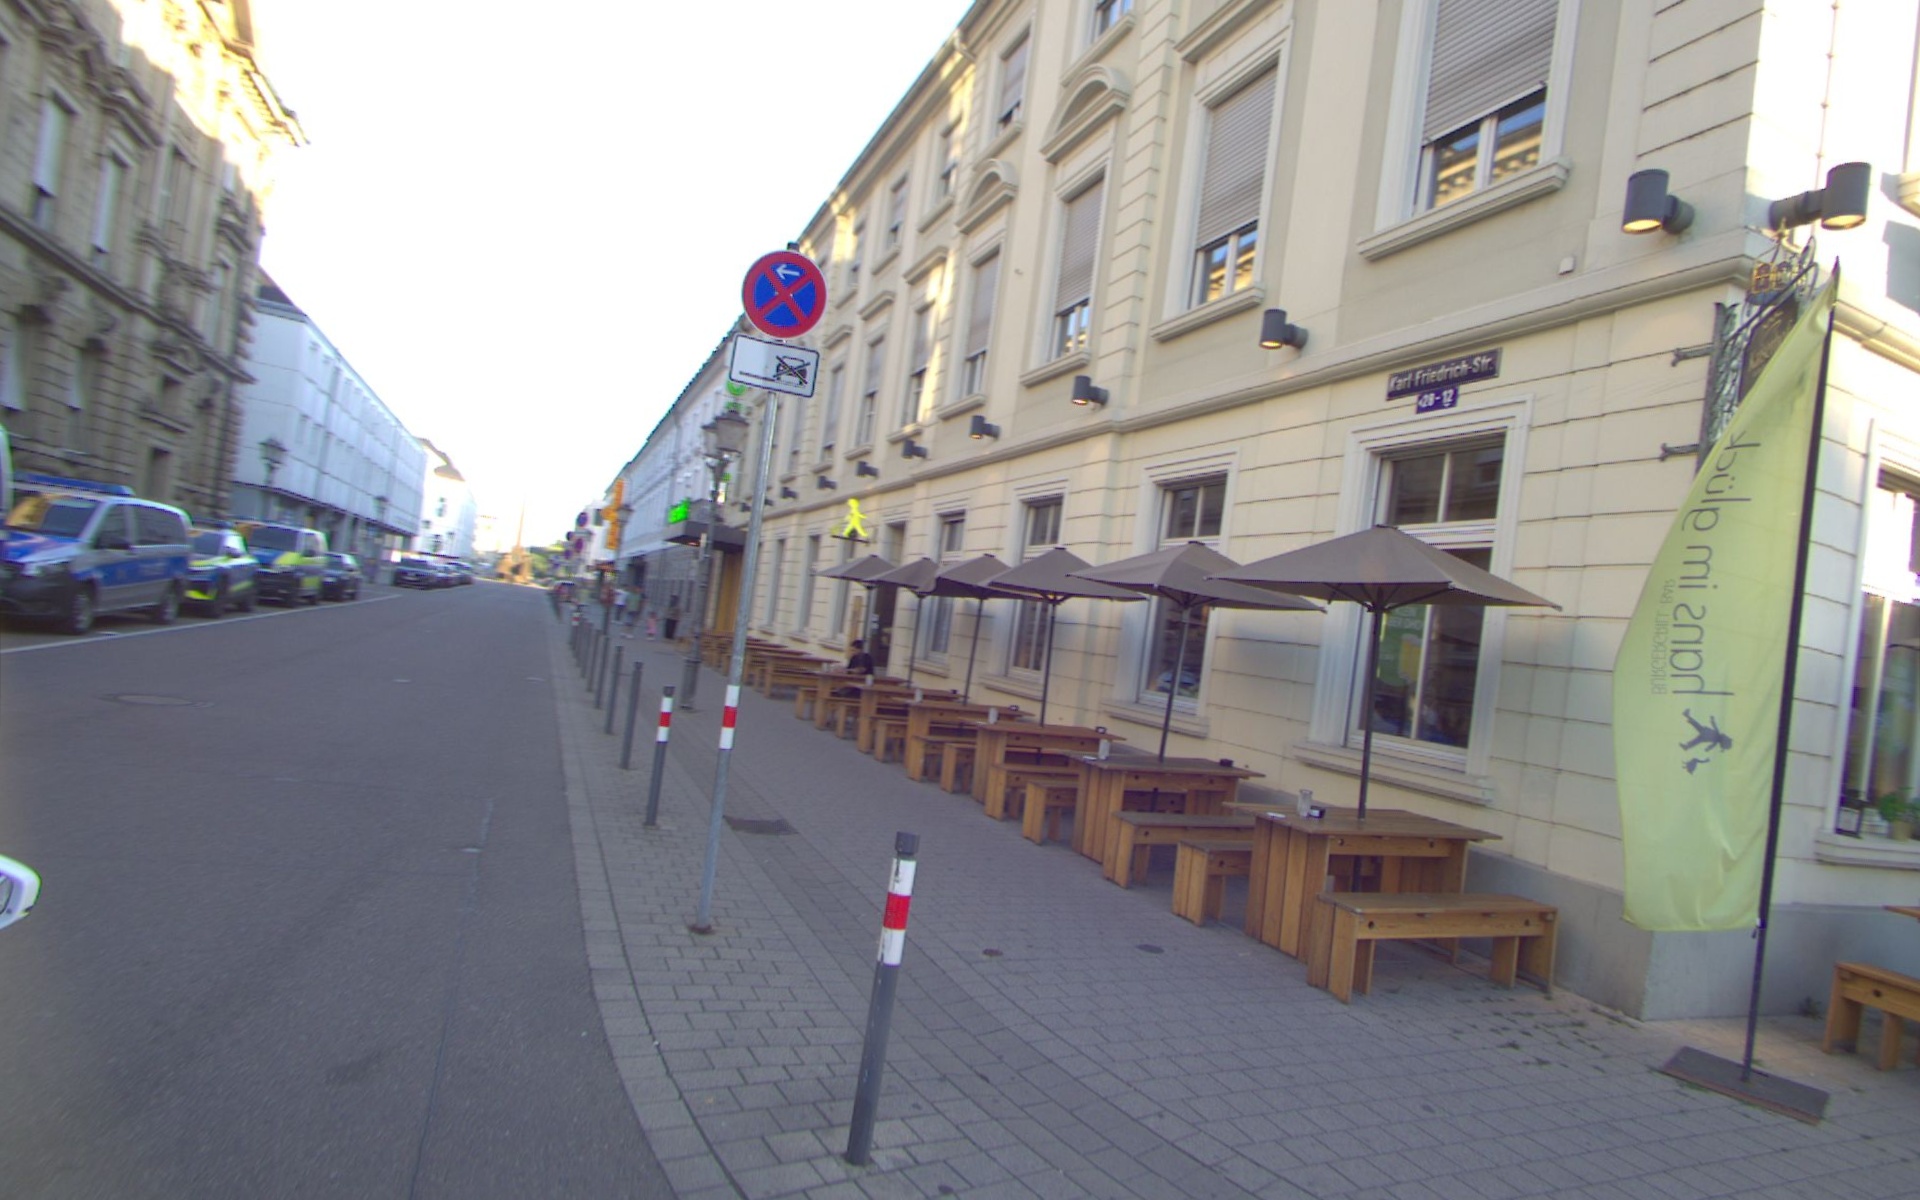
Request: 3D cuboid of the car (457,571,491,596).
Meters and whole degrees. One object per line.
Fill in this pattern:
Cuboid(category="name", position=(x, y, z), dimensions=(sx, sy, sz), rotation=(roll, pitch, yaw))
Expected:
Cuboid(category="car", position=(-39.030, -1.335, 80.924), dimensions=(1.973, 1.749, 4.494), rotation=(7, -1, -22))

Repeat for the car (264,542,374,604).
Cuboid(category="car", position=(-19.714, -0.804, 31.126), dimensions=(1.974, 1.511, 4.145), rotation=(8, -2, -22))

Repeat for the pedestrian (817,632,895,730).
Cuboid(category="pedestrian", position=(-1.613, 1.251, 15.543), dimensions=(0.771, 1.375, 0.716), rotation=(8, -1, -39))

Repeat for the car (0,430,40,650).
Cuboid(category="car", position=(-9.630, -0.662, 7.789), dimensions=(1.976, 2.196, 5.177), rotation=(8, -2, -25))

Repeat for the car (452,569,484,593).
Cuboid(category="car", position=(-42.553, -1.641, 87.091), dimensions=(1.974, 1.681, 3.981), rotation=(9, -2, -22))

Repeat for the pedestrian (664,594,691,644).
Cuboid(category="pedestrian", position=(-9.582, 0.644, 34.133), dimensions=(0.623, 1.619, 0.612), rotation=(8, -1, -21))

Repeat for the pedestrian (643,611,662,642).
Cuboid(category="pedestrian", position=(-10.444, 0.887, 34.130), dimensions=(0.455, 0.991, 0.556), rotation=(8, -1, -21))

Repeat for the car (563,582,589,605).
Cuboid(category="car", position=(-30.104, -0.513, 78.823), dimensions=(1.742, 1.540, 3.660), rotation=(9, -2, -22))

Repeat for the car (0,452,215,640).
Cuboid(category="car", position=(-12.476, -0.738, 13.938), dimensions=(1.973, 2.111, 5.183), rotation=(8, -2, -22))

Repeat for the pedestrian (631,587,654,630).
Cuboid(category="pedestrian", position=(-13.909, 0.372, 44.041), dimensions=(0.706, 1.750, 0.869), rotation=(8, -1, -20))

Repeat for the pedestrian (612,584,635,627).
Cuboid(category="pedestrian", position=(-14.621, 0.219, 43.731), dimensions=(0.740, 1.750, 0.878), rotation=(8, -1, -19))

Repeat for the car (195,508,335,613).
Cuboid(category="car", position=(-17.020, -0.919, 24.913), dimensions=(1.977, 2.101, 4.959), rotation=(8, -2, -27))

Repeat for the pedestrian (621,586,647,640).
Cuboid(category="pedestrian", position=(-10.952, 0.429, 33.801), dimensions=(0.601, 1.750, 0.556), rotation=(8, -1, -21))

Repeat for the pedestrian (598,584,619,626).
Cuboid(category="pedestrian", position=(-15.842, 0.230, 45.339), dimensions=(0.614, 1.810, 0.909), rotation=(8, -1, -21))

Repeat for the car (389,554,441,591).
Cuboid(category="car", position=(-28.908, -1.434, 53.464), dimensions=(1.767, 1.633, 4.146), rotation=(8, -2, -21))

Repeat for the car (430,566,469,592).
Cuboid(category="car", position=(-33.971, -1.379, 66.987), dimensions=(1.767, 1.425, 4.069), rotation=(8, -2, -21))

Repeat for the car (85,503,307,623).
Cuboid(category="car", position=(-14.442, -0.637, 19.417), dimensions=(1.973, 1.772, 4.967), rotation=(8, -2, -22))
